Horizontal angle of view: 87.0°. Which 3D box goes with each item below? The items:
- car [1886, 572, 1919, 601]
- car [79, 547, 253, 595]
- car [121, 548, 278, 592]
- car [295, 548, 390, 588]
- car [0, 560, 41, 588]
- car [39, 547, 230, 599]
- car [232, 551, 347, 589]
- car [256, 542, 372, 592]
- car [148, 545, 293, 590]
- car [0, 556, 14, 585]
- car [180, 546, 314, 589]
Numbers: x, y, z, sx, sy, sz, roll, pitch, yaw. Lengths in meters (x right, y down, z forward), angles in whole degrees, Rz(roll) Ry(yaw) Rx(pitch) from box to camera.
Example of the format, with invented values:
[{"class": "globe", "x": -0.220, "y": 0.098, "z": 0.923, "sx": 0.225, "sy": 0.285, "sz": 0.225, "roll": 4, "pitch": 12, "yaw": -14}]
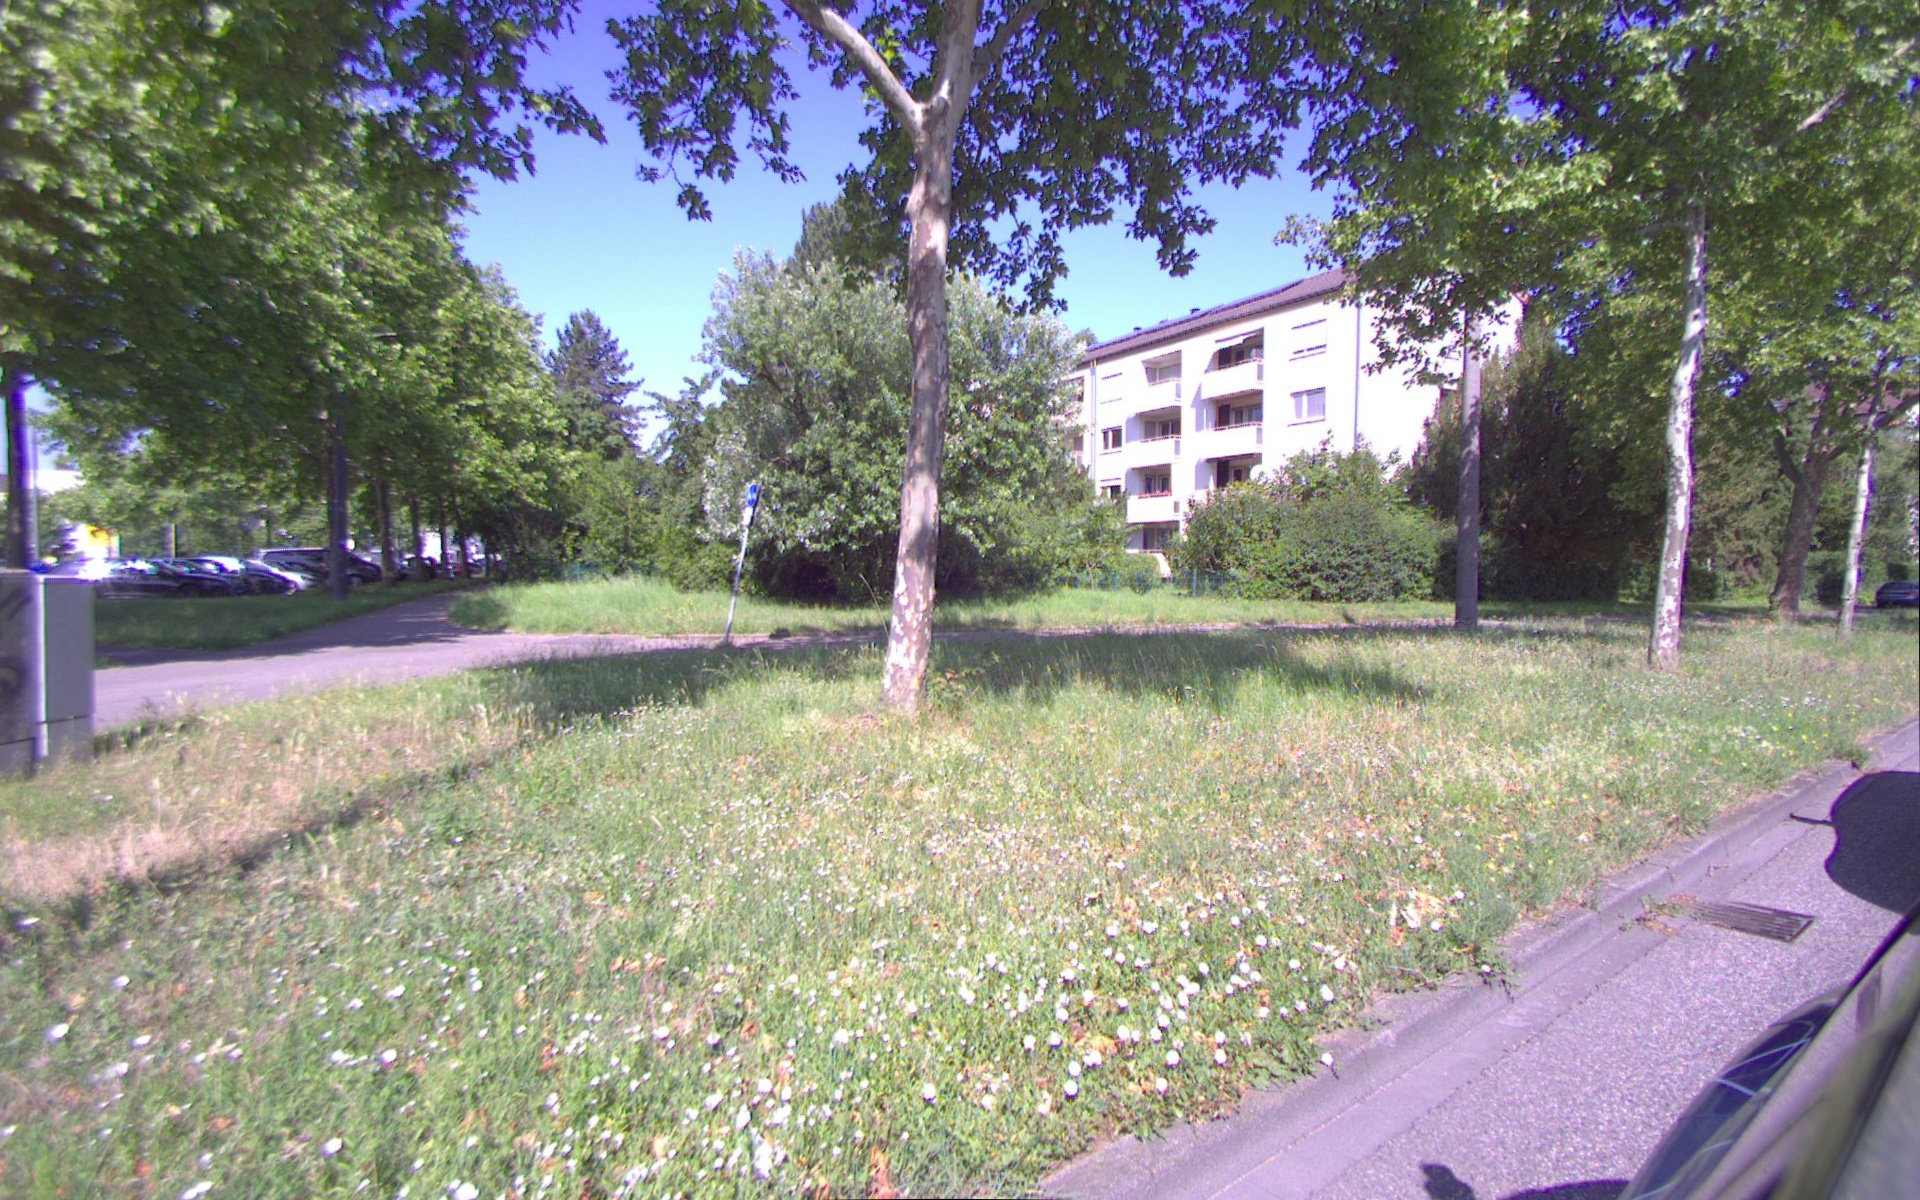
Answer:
[{"class": "car", "x": 48.450, "y": -0.679, "z": 50.746, "sx": 4.004, "sy": 1.389, "sz": 1.510, "roll": -1, "pitch": 2, "yaw": -25}, {"class": "car", "x": -26.331, "y": -0.967, "z": 33.776, "sx": 4.267, "sy": 1.509, "sz": 2.003, "roll": -1, "pitch": 2, "yaw": -29}, {"class": "car", "x": -27.236, "y": -1.089, "z": 36.453, "sx": 4.267, "sy": 1.509, "sz": 2.003, "roll": -1, "pitch": 2, "yaw": -29}, {"class": "car", "x": -35.117, "y": -1.833, "z": 57.724, "sx": 4.497, "sy": 2.236, "sz": 2.003, "roll": -1, "pitch": 2, "yaw": -29}, {"class": "car", "x": -63.719, "y": -1.685, "z": 67.128, "sx": 1.992, "sy": 1.816, "sz": 3.941, "roll": 0, "pitch": 1, "yaw": 41}, {"class": "car", "x": -25.375, "y": -0.862, "z": 31.326, "sx": 4.267, "sy": 1.509, "sz": 2.003, "roll": -1, "pitch": 2, "yaw": -29}, {"class": "car", "x": -30.855, "y": -1.394, "z": 46.719, "sx": 4.267, "sy": 1.653, "sz": 2.003, "roll": -1, "pitch": 2, "yaw": -29}, {"class": "car", "x": -31.552, "y": -1.614, "z": 49.618, "sx": 4.494, "sy": 2.318, "sz": 2.004, "roll": 0, "pitch": 2, "yaw": -23}, {"class": "car", "x": -28.280, "y": -1.231, "z": 38.886, "sx": 4.267, "sy": 1.653, "sz": 2.002, "roll": -1, "pitch": 1, "yaw": -29}, {"class": "car", "x": -62.654, "y": -1.839, "z": 63.990, "sx": 1.992, "sy": 1.816, "sz": 3.941, "roll": 0, "pitch": 1, "yaw": 41}, {"class": "car", "x": -28.895, "y": -1.322, "z": 41.196, "sx": 4.267, "sy": 1.653, "sz": 2.003, "roll": -1, "pitch": 2, "yaw": -29}]
